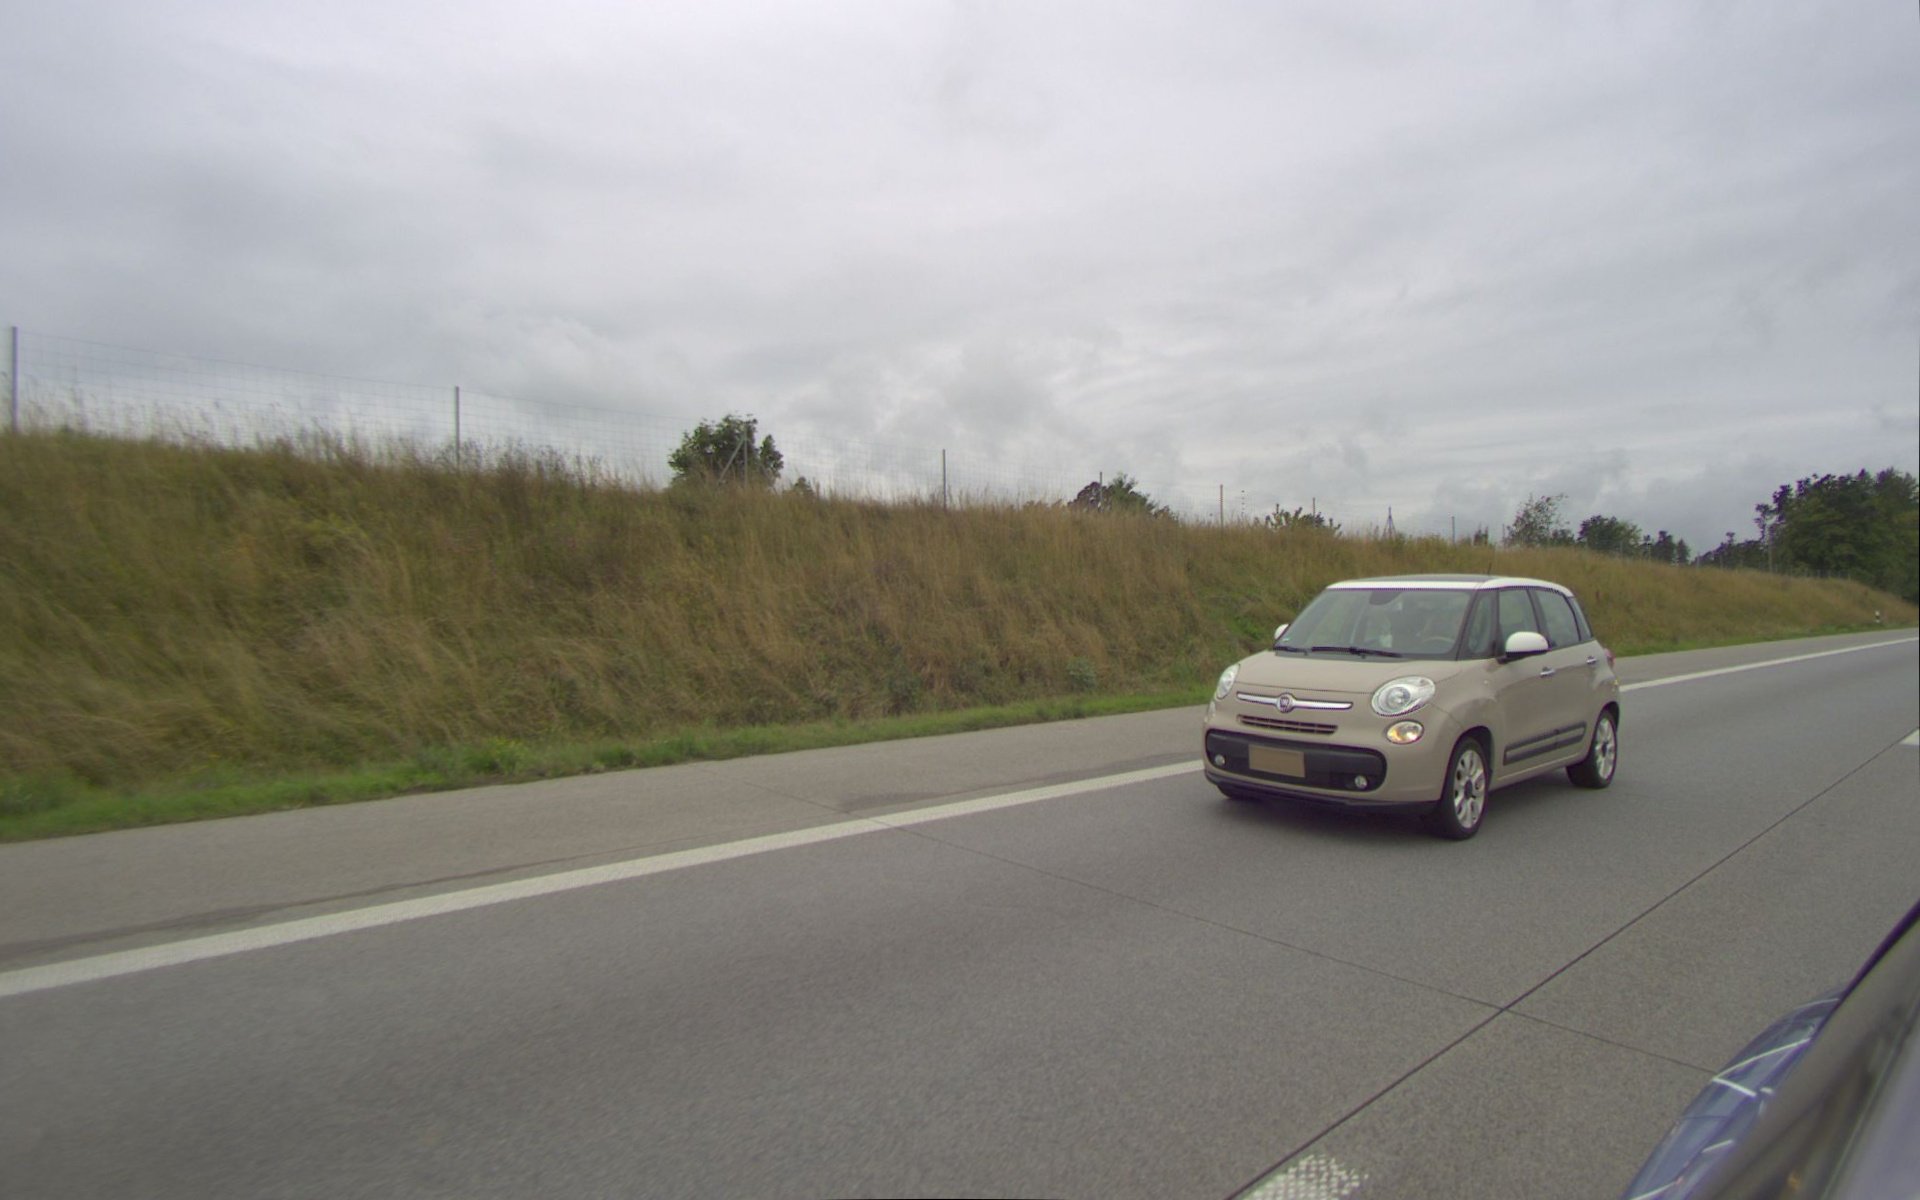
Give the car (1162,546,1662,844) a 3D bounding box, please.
[{"bbox_3d":[3.635,0.522,7.699,4.491,1.625,1.788,0,0,-41],"label":"car"}]
